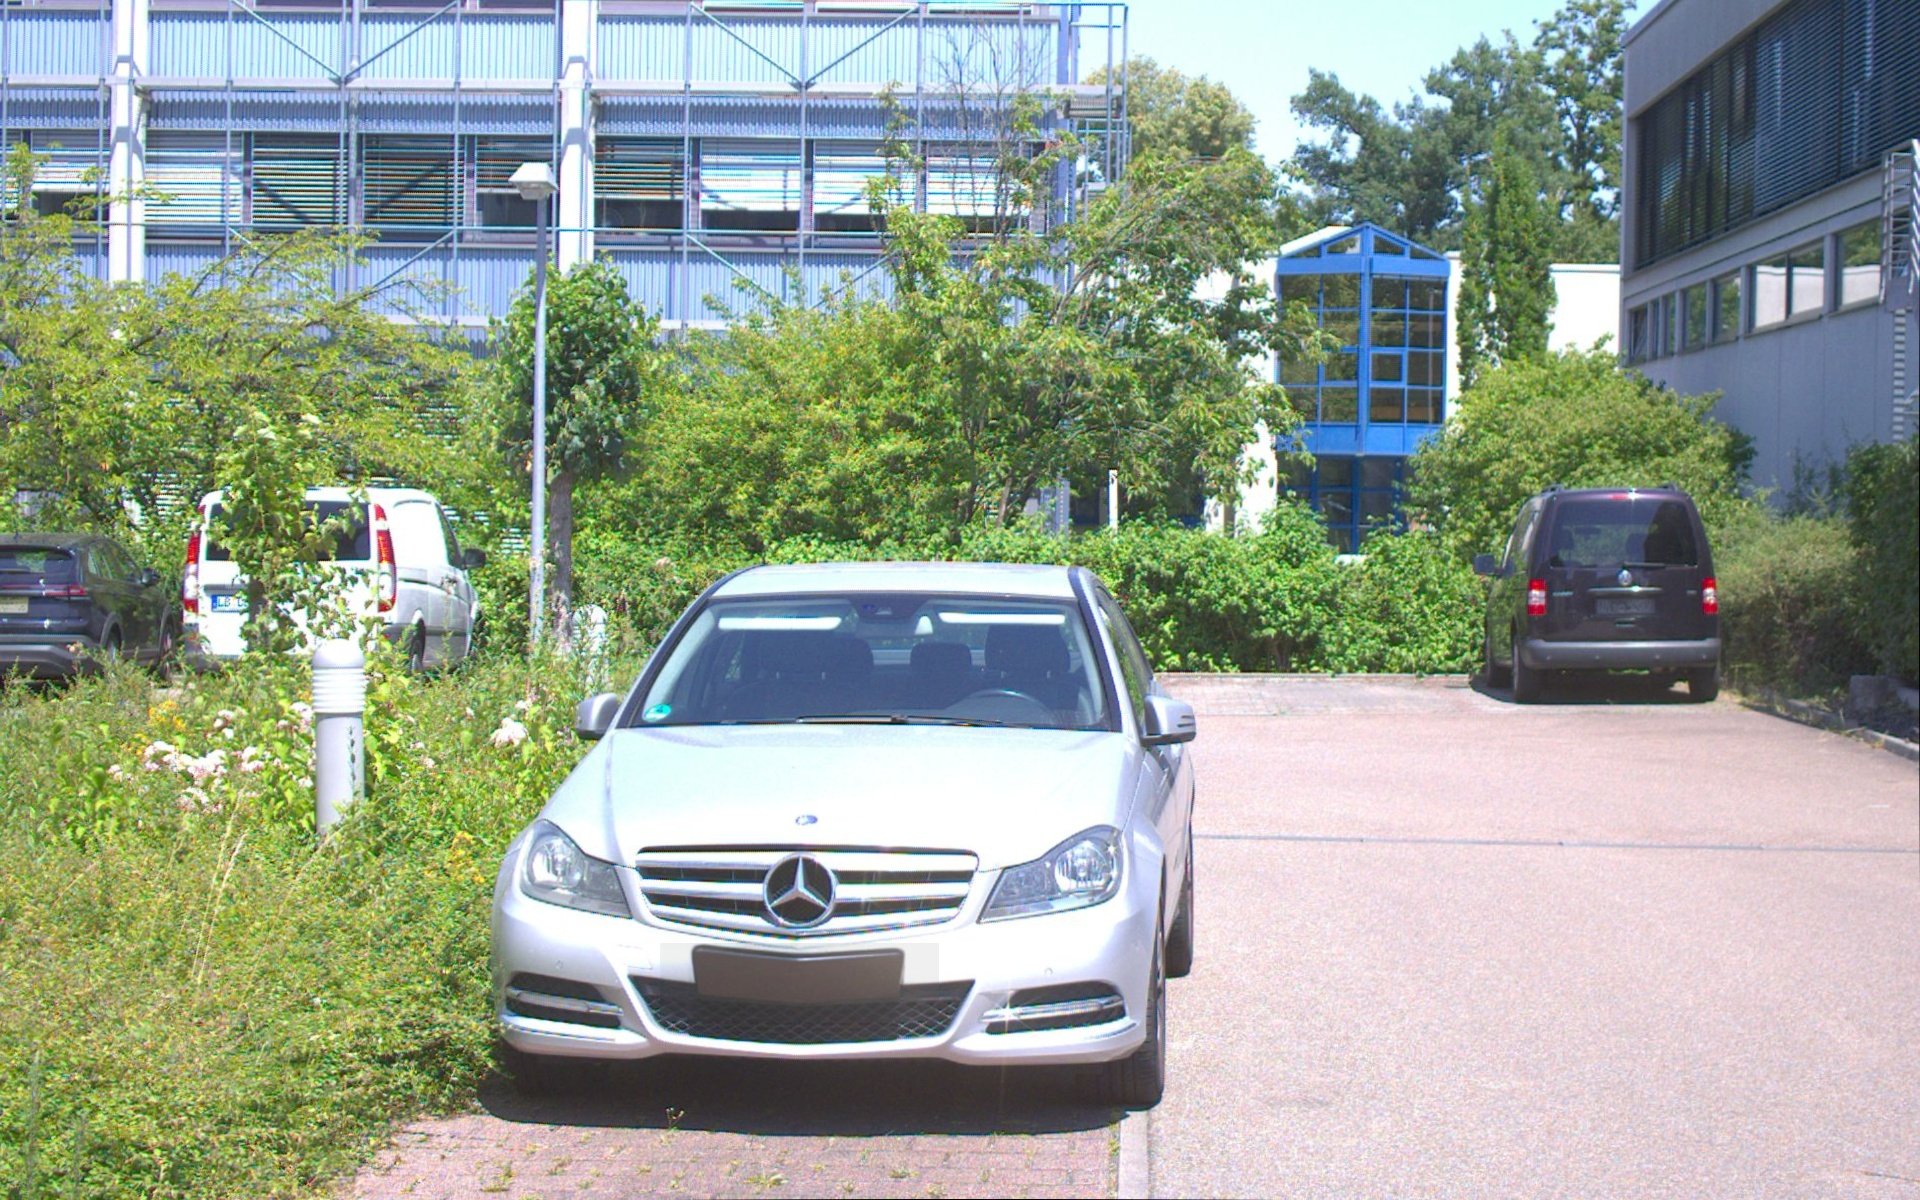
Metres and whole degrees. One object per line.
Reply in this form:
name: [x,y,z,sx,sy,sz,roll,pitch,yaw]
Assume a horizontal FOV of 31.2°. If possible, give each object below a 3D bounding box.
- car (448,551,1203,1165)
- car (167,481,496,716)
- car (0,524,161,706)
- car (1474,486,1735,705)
car: [-0.188,0.594,10.396,1.729,1.452,4.147,0,1,6]
car: [-5.467,-0.092,30.520,1.913,1.898,4.808,0,2,1]
car: [-8.367,0.089,31.119,1.754,1.471,4.001,-1,2,-7]
car: [5.703,-0.097,30.849,1.743,1.830,4.000,0,2,2]
